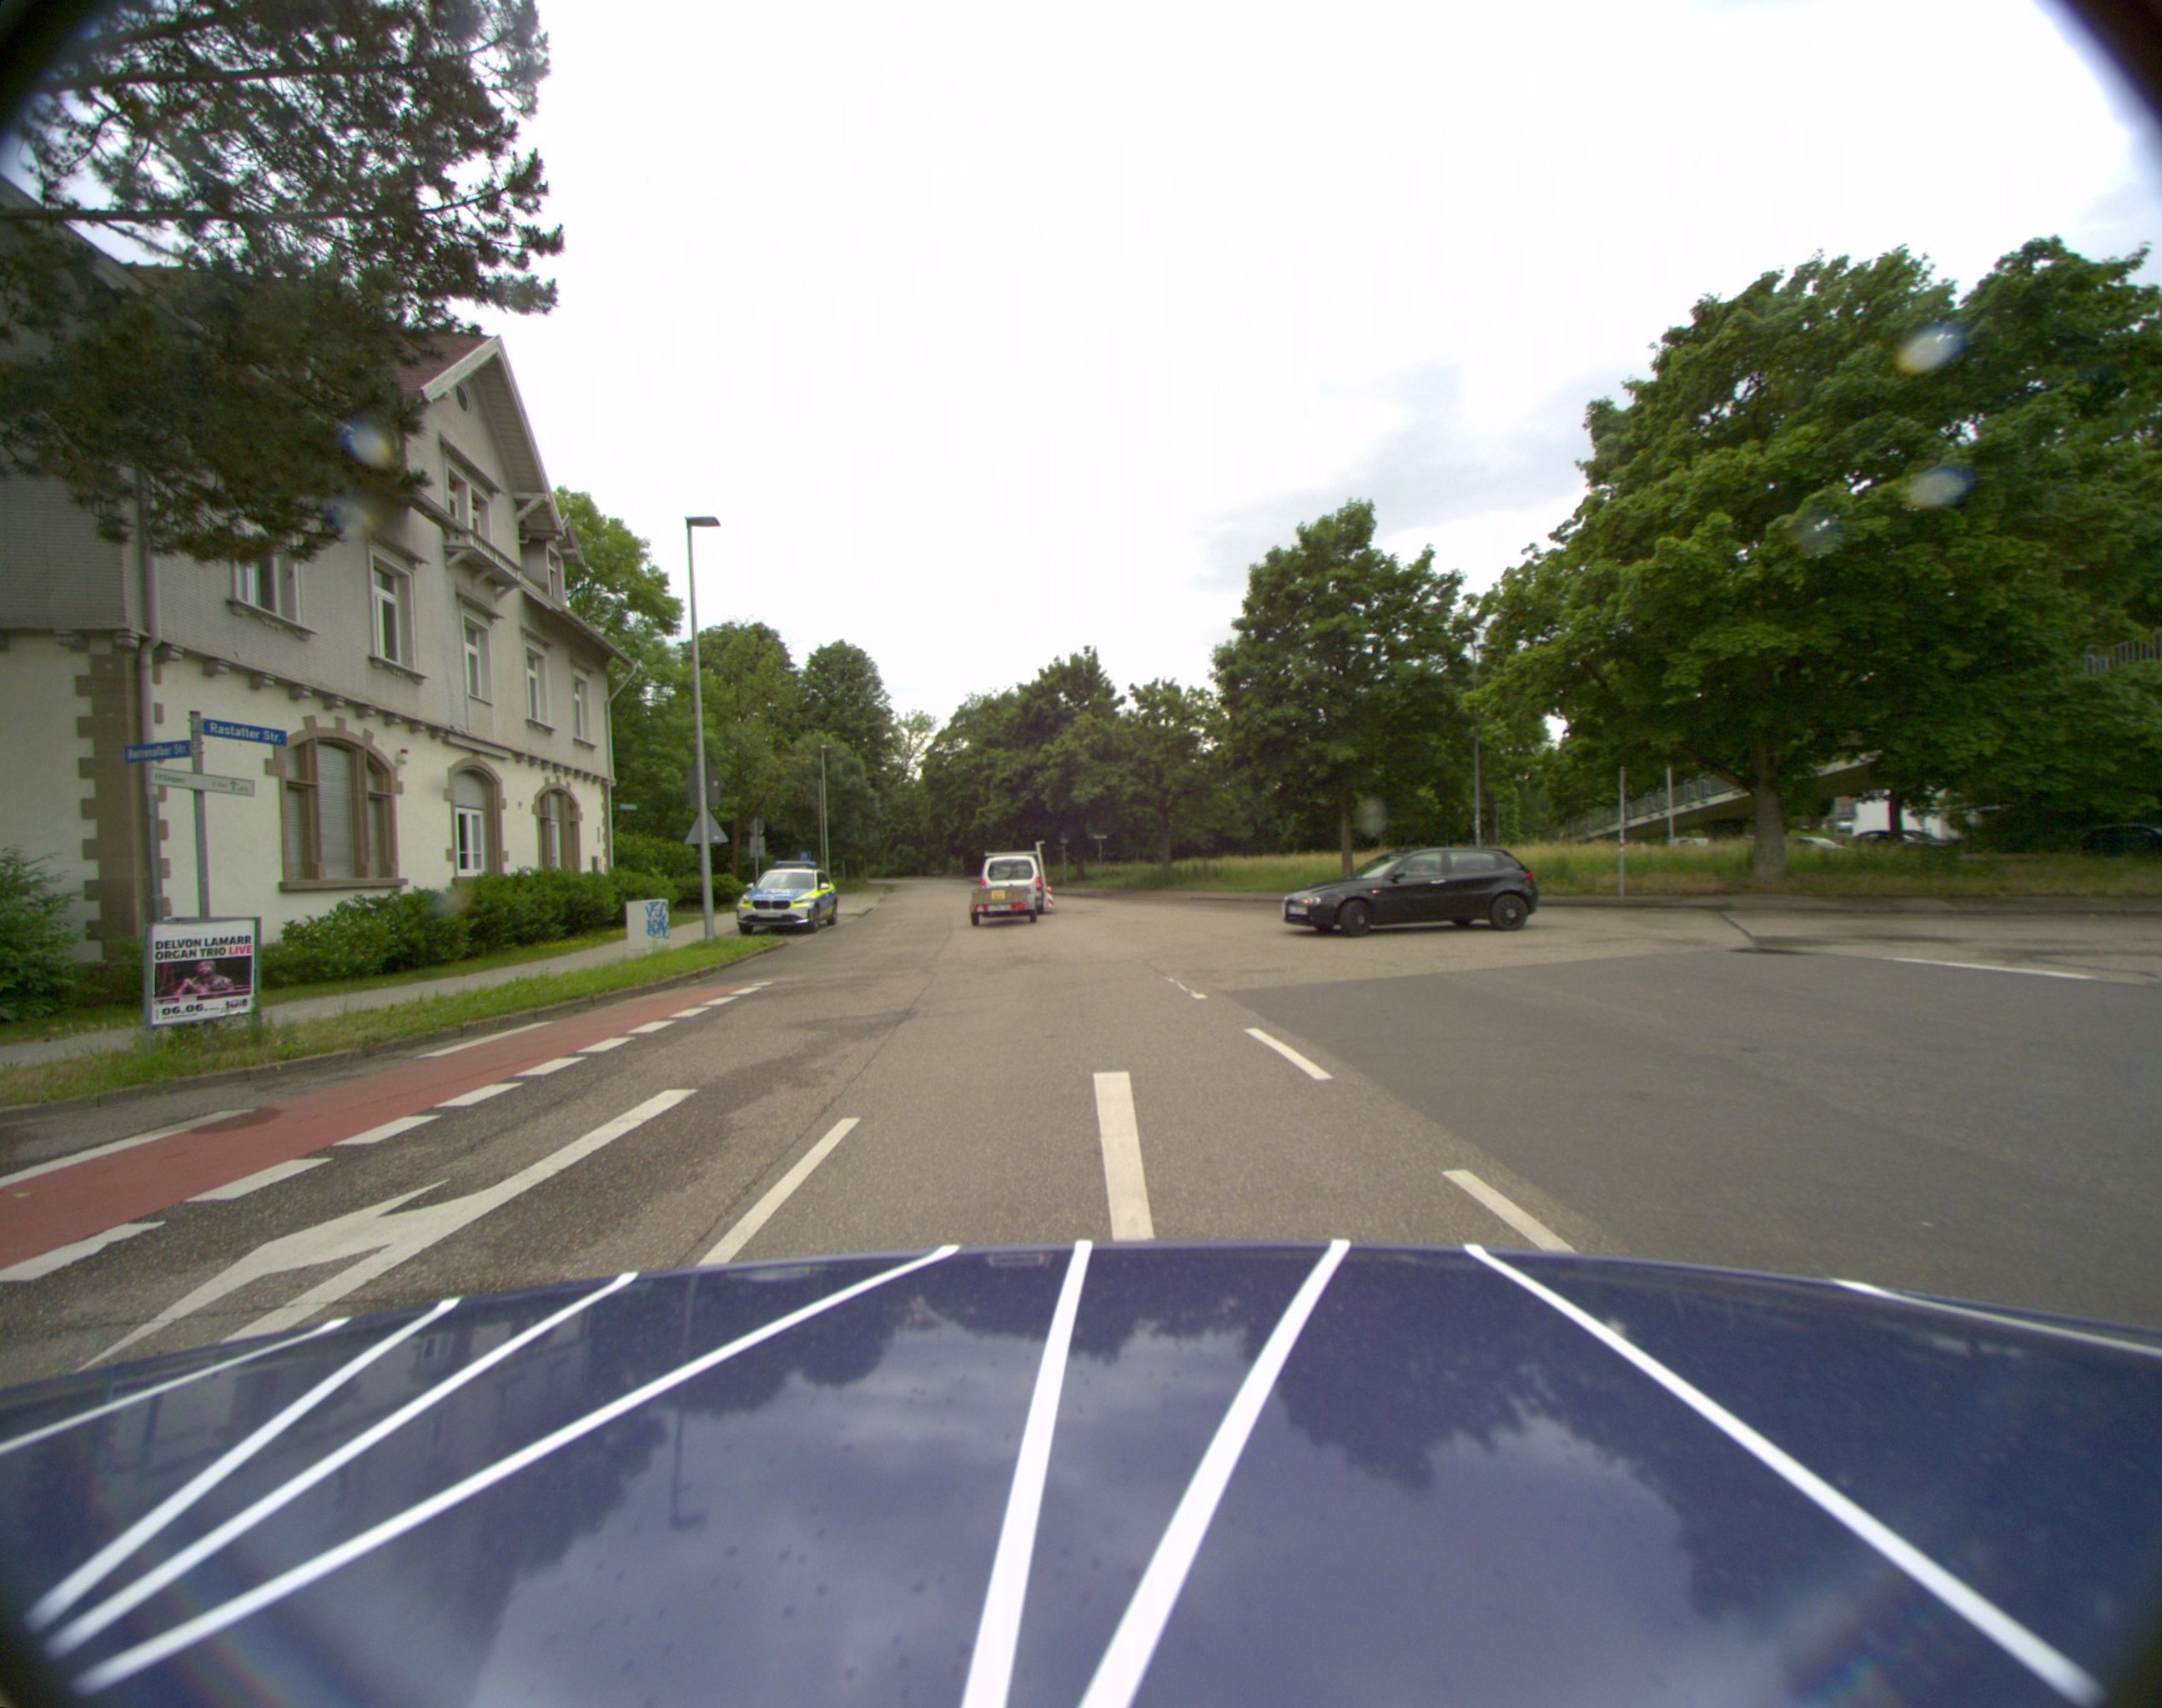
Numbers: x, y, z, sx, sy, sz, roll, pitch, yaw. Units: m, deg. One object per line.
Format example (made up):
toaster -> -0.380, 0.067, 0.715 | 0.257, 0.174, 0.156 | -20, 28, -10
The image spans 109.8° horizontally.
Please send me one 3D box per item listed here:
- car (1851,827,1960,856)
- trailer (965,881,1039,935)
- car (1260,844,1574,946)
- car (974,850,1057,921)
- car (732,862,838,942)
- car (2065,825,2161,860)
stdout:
car -> 41.826, -0.630, 38.681 | 1.692, 1.343, 4.003 | -2, 0, 11
trailer -> -1.900, 1.297, 19.117 | 1.571, 0.980, 3.463 | -2, 1, -2
car -> 5.583, 0.662, 13.046 | 4.537, 1.448, 1.803 | -2, 0, 0
car -> -1.861, 0.858, 22.997 | 2.093, 1.847, 4.221 | -3, 0, -1
car -> -7.615, 1.148, 19.928 | 1.937, 1.839, 3.996 | 0, 0, -12
car -> 40.403, -0.444, 28.703 | 1.692, 1.231, 4.003 | -2, 0, 11
